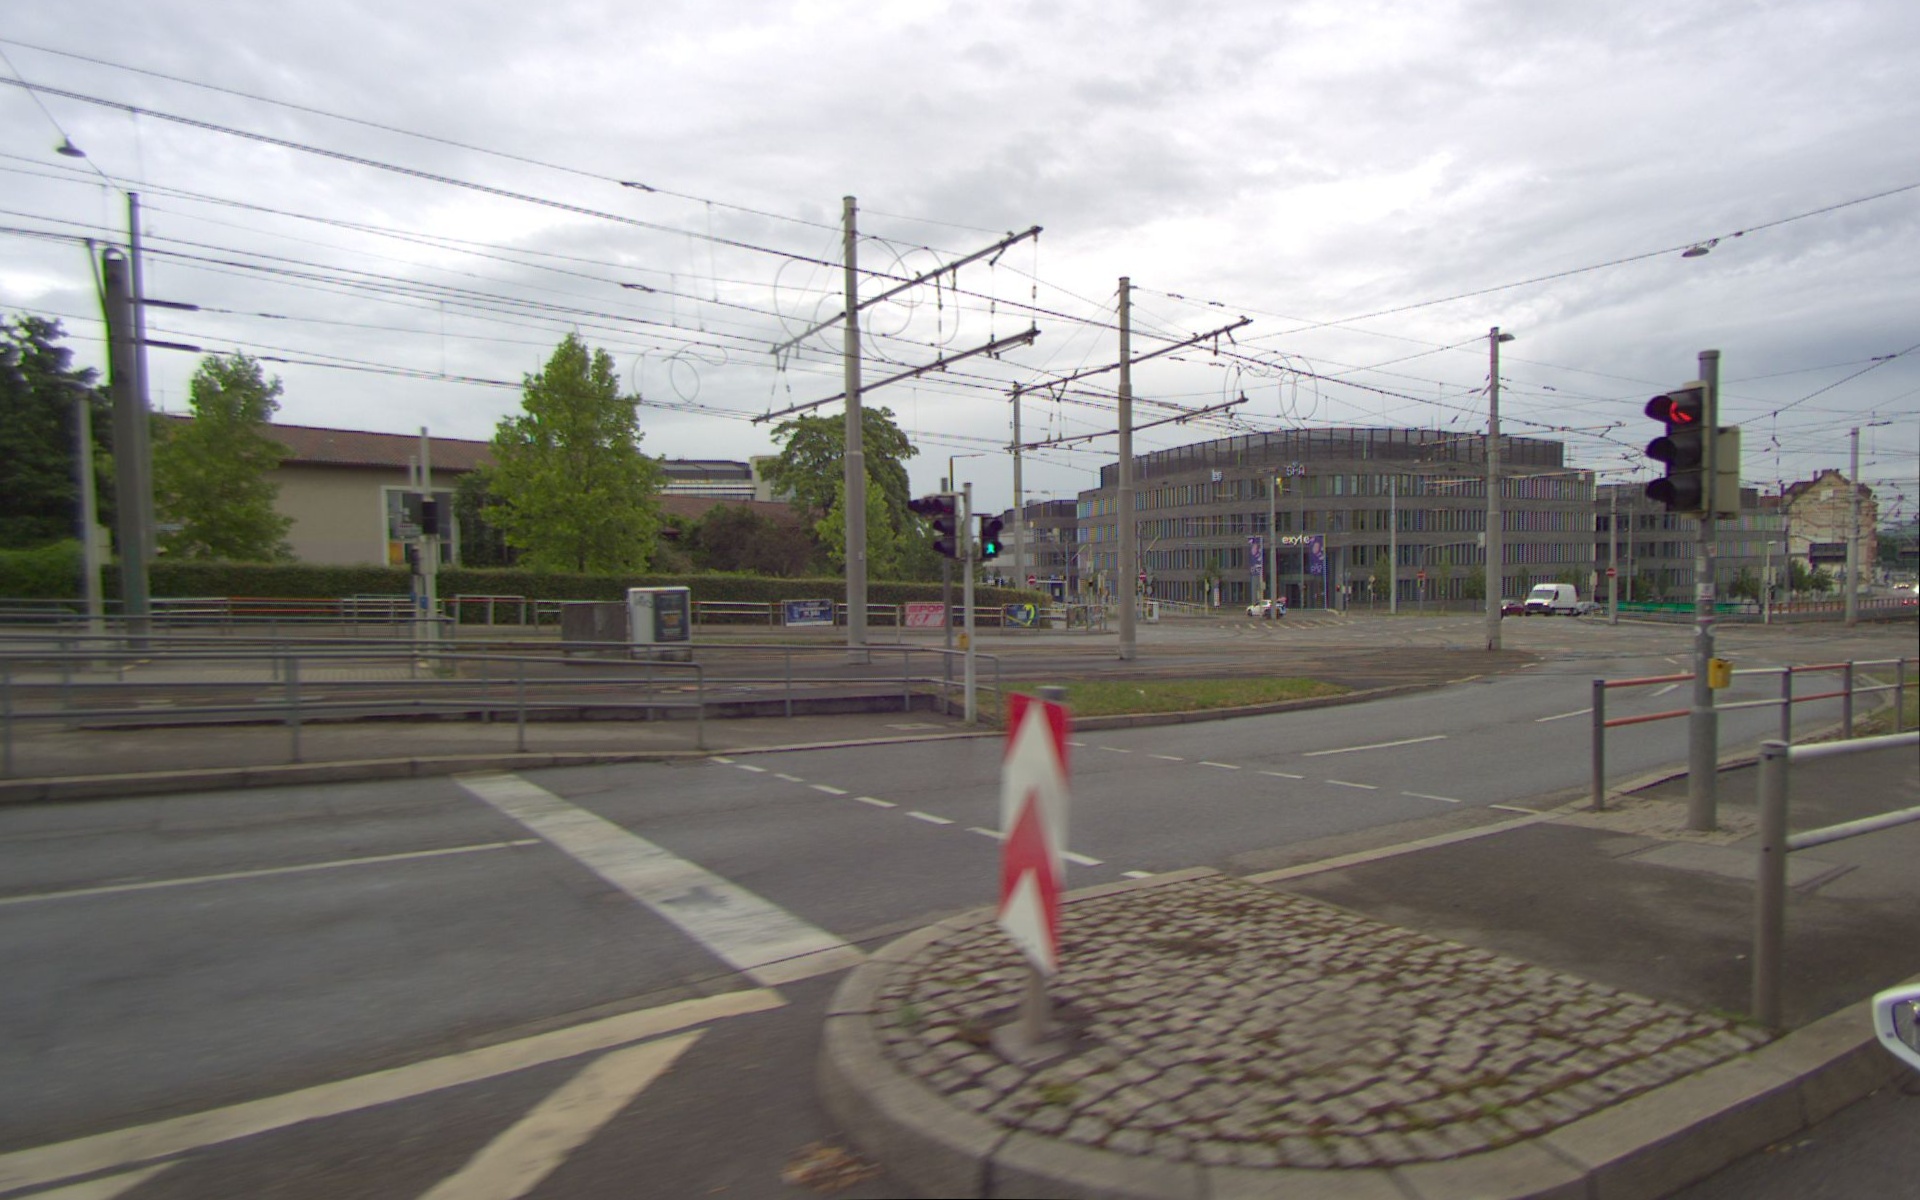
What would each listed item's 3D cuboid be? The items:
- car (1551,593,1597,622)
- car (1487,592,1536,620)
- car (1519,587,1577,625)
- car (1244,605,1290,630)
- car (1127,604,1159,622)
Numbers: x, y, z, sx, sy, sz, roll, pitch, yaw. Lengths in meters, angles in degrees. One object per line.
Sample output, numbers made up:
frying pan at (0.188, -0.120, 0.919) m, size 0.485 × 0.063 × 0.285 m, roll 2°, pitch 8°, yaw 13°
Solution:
car at (52.525, 0.660, 85.866) m, size 4.211 × 2.181 × 1.978 m, roll 4°, pitch -2°, yaw -38°
car at (45.151, 0.510, 82.181) m, size 4.210 × 2.181 × 1.978 m, roll 2°, pitch -1°, yaw -38°
car at (46.789, 0.473, 79.874) m, size 5.666 × 2.869 × 1.979 m, roll 0°, pitch -2°, yaw -38°
car at (26.784, 1.549, 87.748) m, size 1.966 × 2.040 × 3.989 m, roll 3°, pitch -1°, yaw -13°
car at (19.693, 1.358, 108.257) m, size 1.966 × 1.840 × 3.989 m, roll 3°, pitch -1°, yaw -13°
